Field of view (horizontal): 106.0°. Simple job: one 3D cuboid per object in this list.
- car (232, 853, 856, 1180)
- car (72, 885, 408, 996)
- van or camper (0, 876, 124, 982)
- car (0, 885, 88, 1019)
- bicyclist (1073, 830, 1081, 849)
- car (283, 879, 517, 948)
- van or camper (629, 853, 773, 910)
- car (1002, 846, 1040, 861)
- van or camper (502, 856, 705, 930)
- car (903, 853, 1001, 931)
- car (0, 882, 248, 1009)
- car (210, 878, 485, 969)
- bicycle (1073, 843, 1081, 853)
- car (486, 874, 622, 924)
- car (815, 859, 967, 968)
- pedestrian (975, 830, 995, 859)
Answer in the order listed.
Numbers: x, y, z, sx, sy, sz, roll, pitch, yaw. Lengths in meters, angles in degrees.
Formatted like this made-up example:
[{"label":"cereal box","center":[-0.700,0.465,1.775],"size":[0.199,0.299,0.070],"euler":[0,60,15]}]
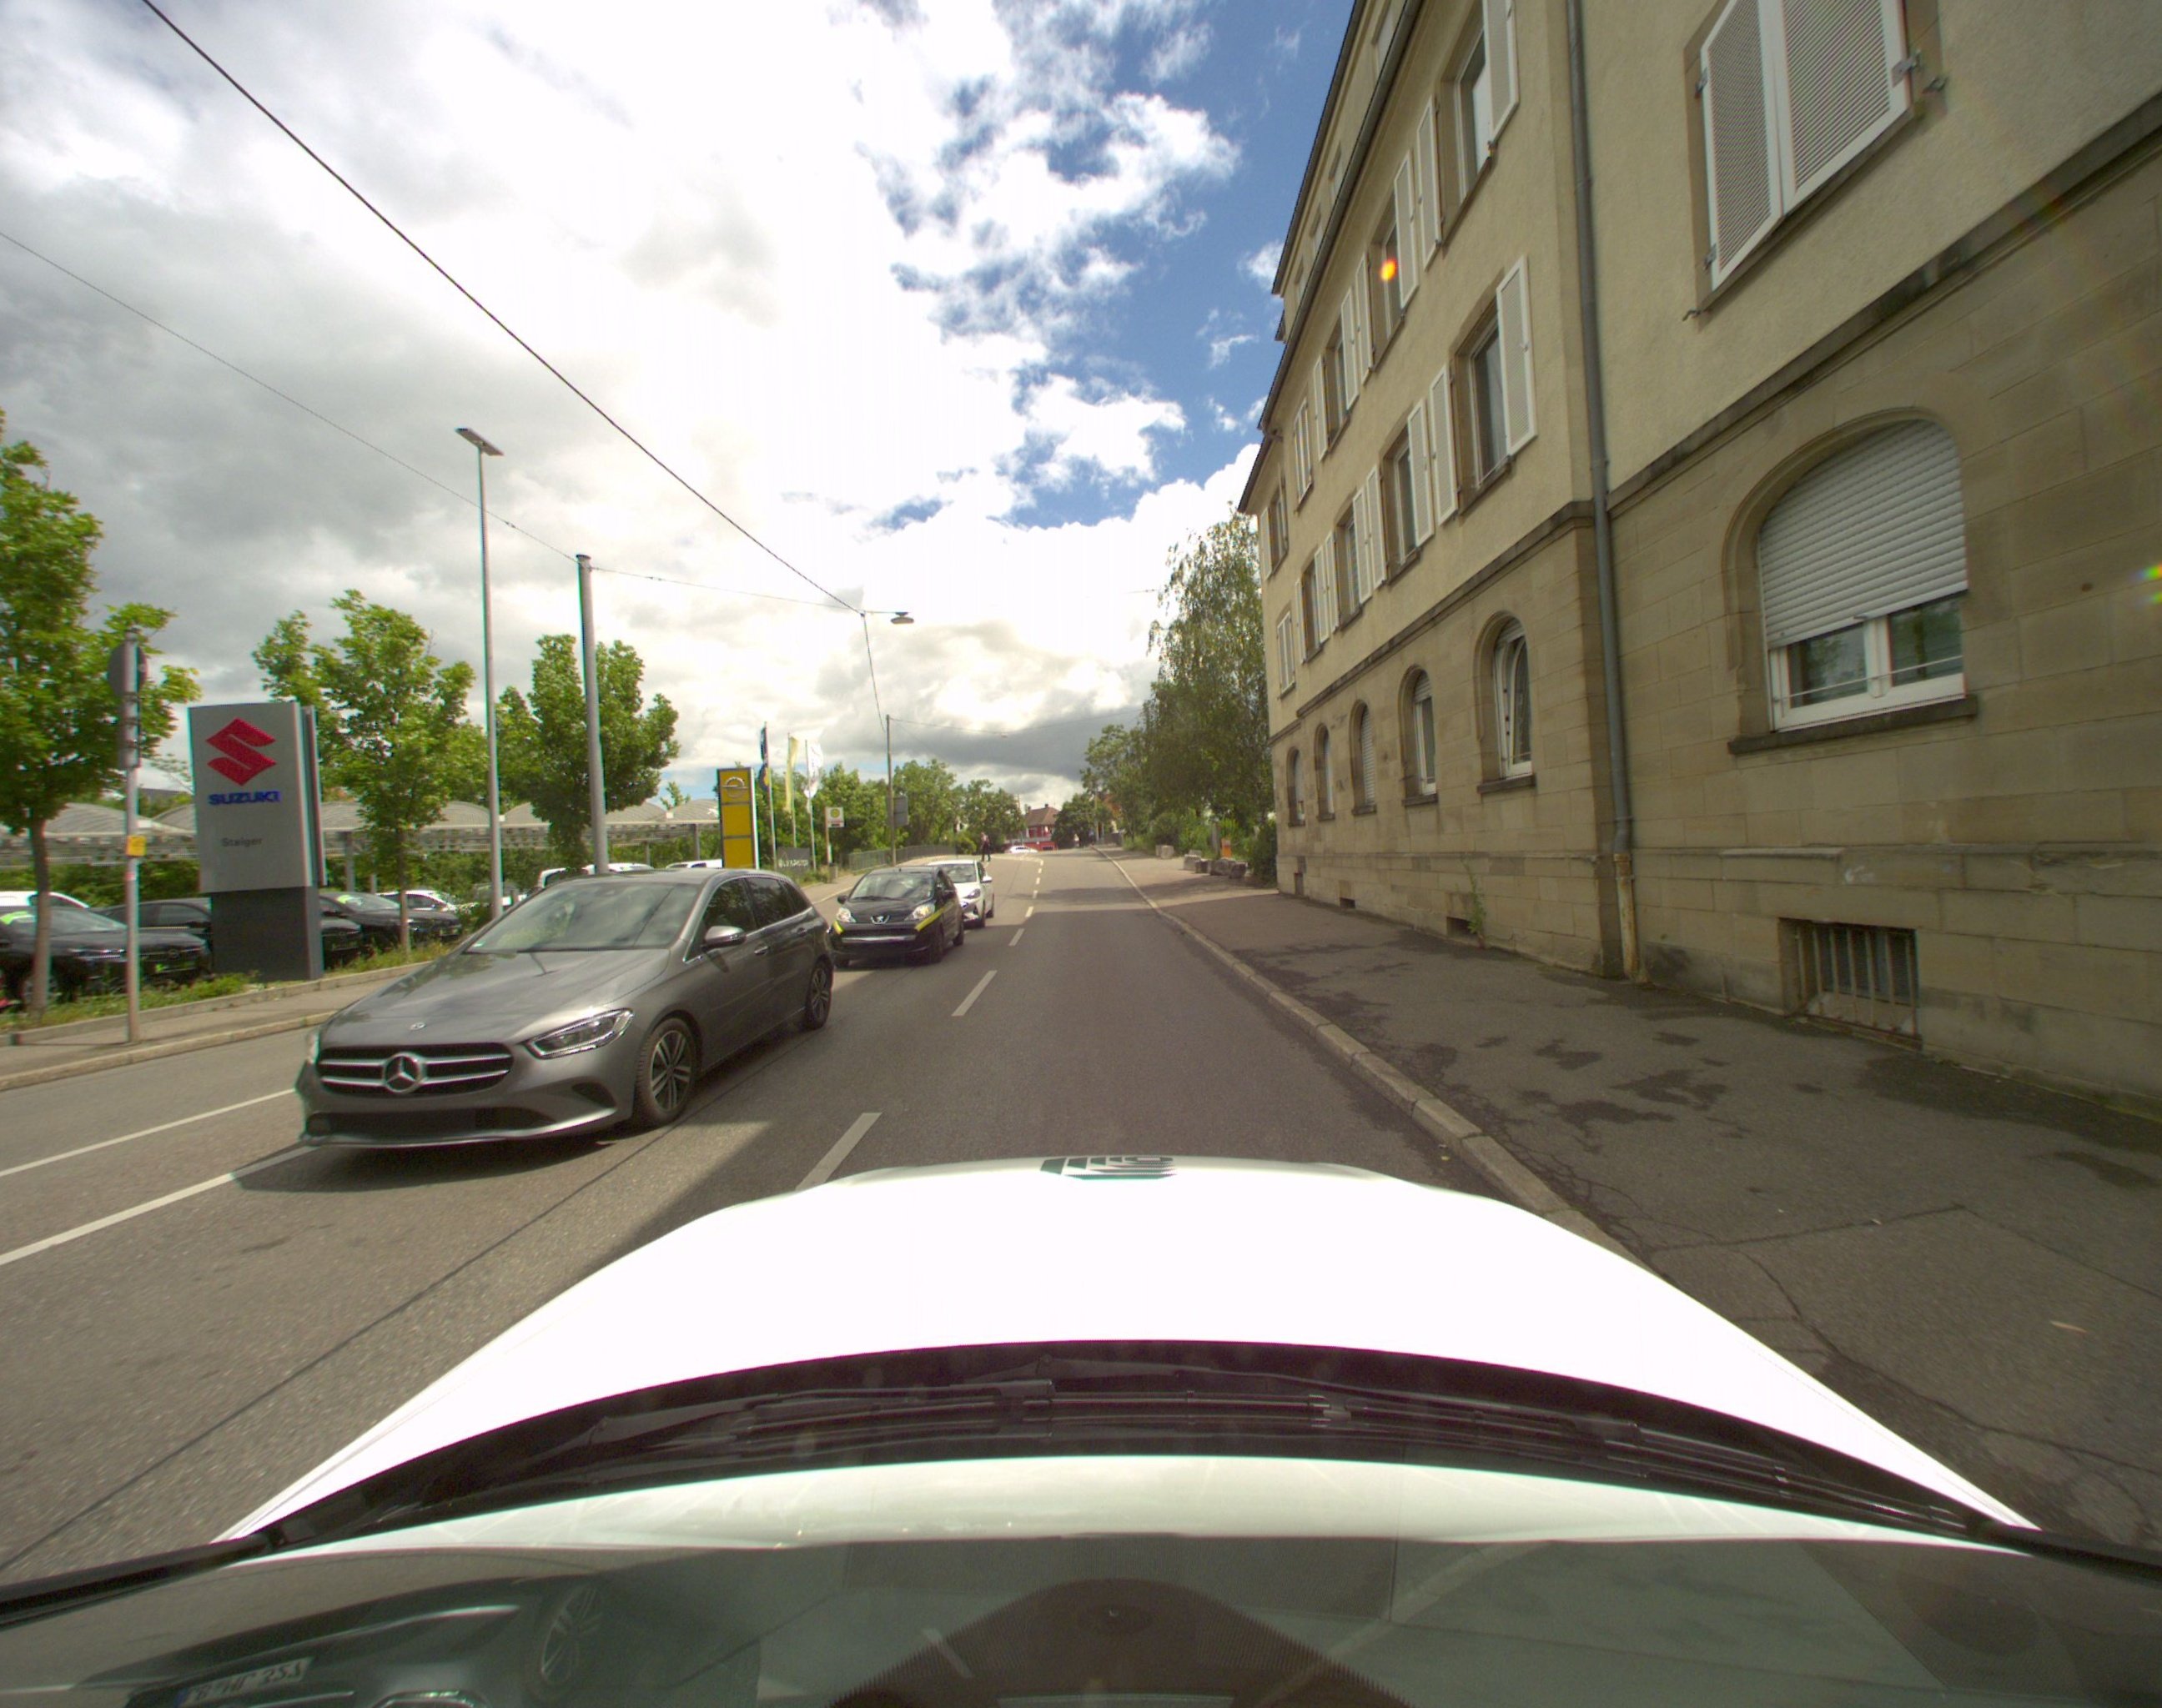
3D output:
[{"label":"car","center":[-3.253,0.834,6.144],"size":[1.712,1.581,4.254],"euler":[-1,-1,3]},{"label":"car","center":[-14.530,1.452,14.271],"size":[3.825,1.461,1.771],"euler":[-4,1,-3]},{"label":"van or camper","center":[-22.442,1.593,15.839],"size":[1.988,2.013,4.684],"euler":[-4,1,-1]},{"label":"car","center":[-14.341,1.272,9.185],"size":[3.838,1.497,1.811],"euler":[-4,1,-2]},{"label":"bicyclist","center":[-0.458,-1.539,84.967],"size":[0.682,1.826,1.081],"euler":[-3,-4,3]},{"label":"car","center":[-18.799,1.587,22.786],"size":[4.525,1.436,1.999],"euler":[-4,0,-21]},{"label":"van or camper","center":[-15.307,1.065,33.108],"size":[1.964,1.963,4.991],"euler":[-2,1,32]},{"label":"car","center":[-7.653,-0.069,103.604],"size":[4.447,1.831,1.980],"euler":[1,-1,-31]},{"label":"van or camper","center":[-13.759,1.091,23.648],"size":[4.648,1.749,2.002],"euler":[-4,1,3]},{"label":"car","center":[-2.910,0.827,19.131],"size":[1.714,1.581,3.997],"euler":[-1,-1,-2]},{"label":"car","center":[-14.767,1.311,11.544],"size":[3.806,1.497,1.810],"euler":[-4,1,-4]},{"label":"car","center":[-14.743,1.345,16.579],"size":[3.693,1.409,1.791],"euler":[-4,1,-7]},{"label":"bicycle","center":[-0.405,-0.600,85.010],"size":[0.684,0.878,2.103],"euler":[-3,-4,3]},{"label":"car","center":[-19.409,1.616,30.047],"size":[4.020,1.466,1.797],"euler":[-3,0,-39]},{"label":"car","center":[-2.915,0.862,13.163],"size":[1.714,1.484,3.320],"euler":[-1,-1,-2]},{"label":"pedestrian","center":[-6.234,-0.638,52.896],"size":[1.028,1.837,1.001],"euler":[-2,1,5]}]
